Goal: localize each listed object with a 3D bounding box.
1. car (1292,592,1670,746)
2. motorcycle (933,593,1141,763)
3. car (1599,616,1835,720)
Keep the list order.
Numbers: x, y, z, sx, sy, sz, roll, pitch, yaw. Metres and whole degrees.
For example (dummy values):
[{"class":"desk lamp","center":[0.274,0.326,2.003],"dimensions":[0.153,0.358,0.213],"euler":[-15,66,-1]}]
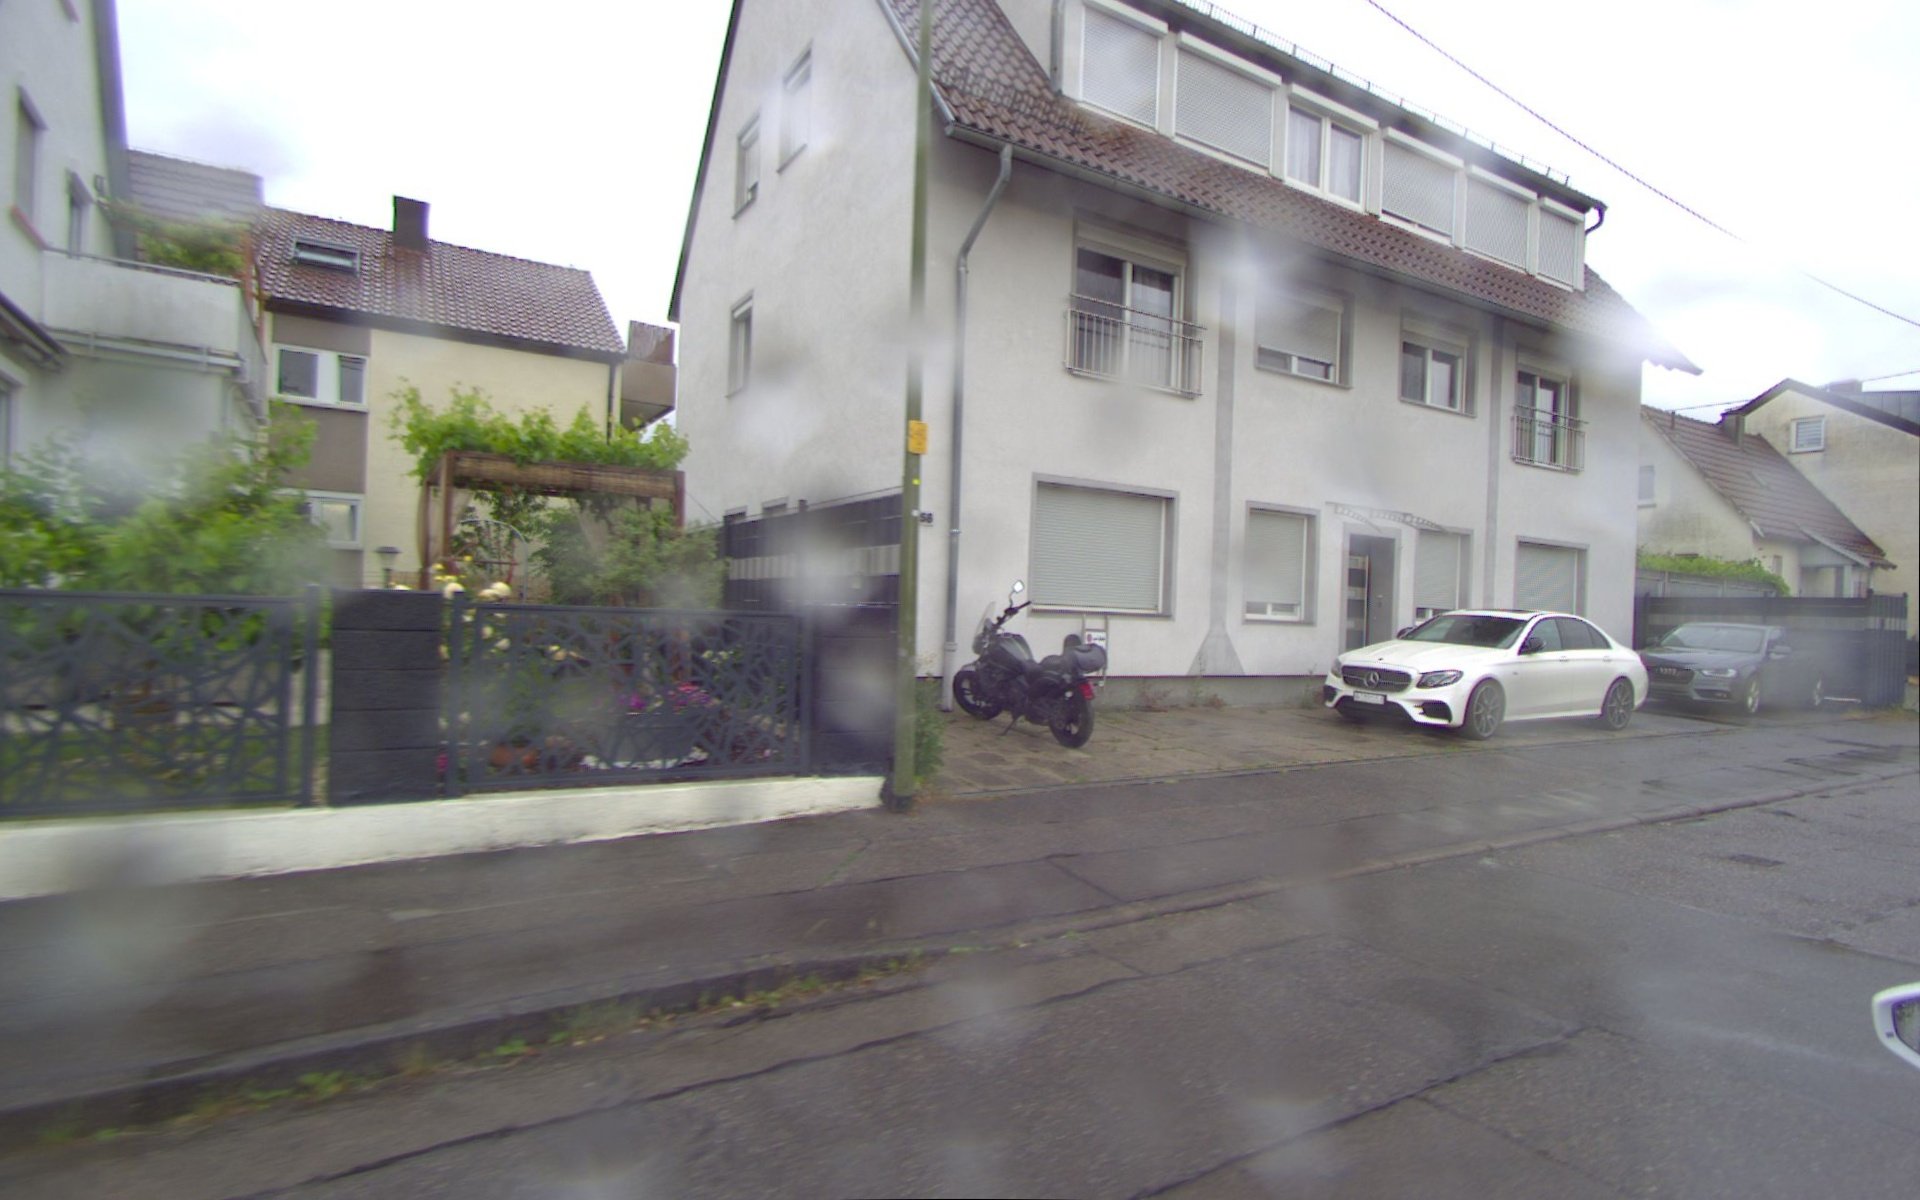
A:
[{"class":"car","center":[6.703,0.783,12.785],"dimensions":[4.840,1.530,1.983],"euler":[2,3,-31]},{"class":"motorcycle","center":[0.643,0.651,9.529],"dimensions":[0.727,1.290,2.351],"euler":[1,3,-30]},{"class":"car","center":[12.635,1.045,16.680],"dimensions":[4.525,1.387,1.814],"euler":[1,3,-36]}]
